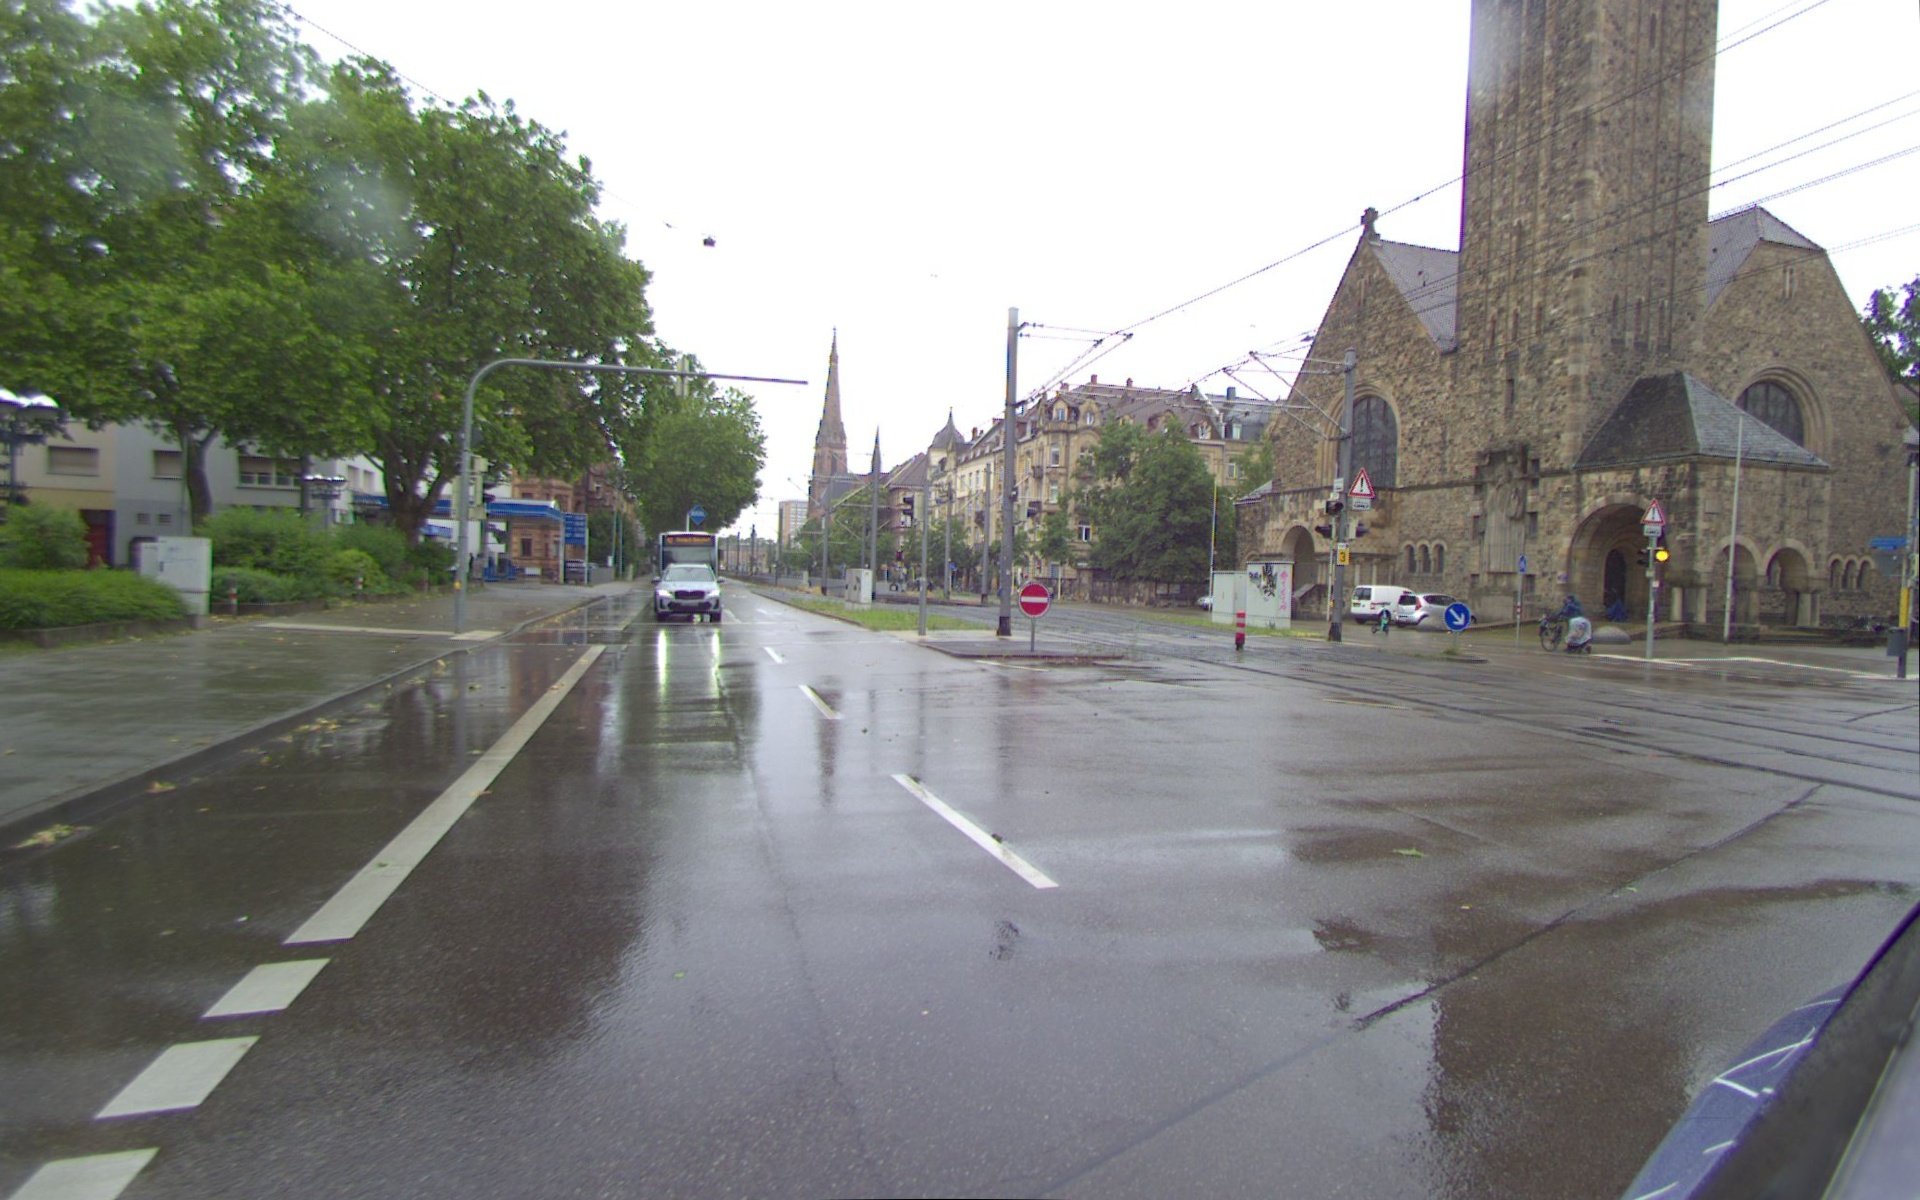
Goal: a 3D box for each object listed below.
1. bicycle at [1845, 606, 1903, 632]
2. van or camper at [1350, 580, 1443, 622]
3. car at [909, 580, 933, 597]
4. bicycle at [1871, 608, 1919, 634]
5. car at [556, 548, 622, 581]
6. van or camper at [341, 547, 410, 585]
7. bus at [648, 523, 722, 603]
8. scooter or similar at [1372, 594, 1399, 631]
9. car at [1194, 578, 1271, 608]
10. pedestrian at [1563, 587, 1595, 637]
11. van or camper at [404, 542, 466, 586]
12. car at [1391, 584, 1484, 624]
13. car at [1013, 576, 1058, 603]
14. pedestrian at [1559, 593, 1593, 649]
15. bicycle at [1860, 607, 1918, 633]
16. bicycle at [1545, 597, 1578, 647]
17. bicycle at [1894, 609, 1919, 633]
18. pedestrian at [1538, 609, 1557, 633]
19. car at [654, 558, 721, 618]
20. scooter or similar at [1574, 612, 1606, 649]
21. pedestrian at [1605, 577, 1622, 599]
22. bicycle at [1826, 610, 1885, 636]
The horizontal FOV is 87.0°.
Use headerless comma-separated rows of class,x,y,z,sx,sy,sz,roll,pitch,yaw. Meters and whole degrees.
bicycle,43.084,0.880,47.723,0.569,1.073,1.933,2,2,-21
van or camper,20.478,0.017,47.489,3.847,1.749,1.653,-2,3,-16
car,-4.281,-1.276,110.566,1.744,1.798,4.010,1,1,-16
bicycle,44.618,0.995,48.044,0.569,1.073,1.933,2,2,-18
car,-24.476,-2.355,66.900,3.915,2.038,2.005,1,1,-17
van or camper,-27.117,-1.596,47.095,1.958,1.618,4.682,2,1,-20
bus,-13.166,-1.729,47.701,2.832,3.152,12.131,2,1,-17
scooter or similar,16.575,0.475,39.416,0.280,1.404,1.106,2,1,-17
car,16.145,-0.435,60.035,3.915,1.638,2.005,2,1,-16
pedestrian,22.059,0.418,36.088,0.664,1.724,0.635,2,1,-20
van or camper,-24.841,-1.710,48.050,1.958,1.938,4.682,2,1,-20
car,20.821,0.143,44.172,3.288,1.593,1.740,-2,2,-14
car,5.658,-0.807,76.269,1.938,1.816,4.010,1,2,-19
pedestrian,18.851,0.641,30.971,0.676,1.684,0.604,2,1,-37
bicycle,43.873,0.937,47.807,0.569,1.073,1.933,2,2,-18
bicycle,18.719,0.679,31.470,0.531,1.484,1.912,3,1,40
bicycle,46.295,1.055,48.622,0.593,1.079,1.988,2,2,-18
pedestrian,22.274,0.789,38.359,0.388,0.895,0.457,2,1,-20
car,-8.290,-0.396,30.583,1.754,1.619,4.566,2,1,-17
scooter or similar,18.979,0.915,30.483,0.907,1.061,0.515,2,1,-38
pedestrian,28.102,-0.510,43.527,0.447,0.895,0.397,2,1,-17
bicycle,42.032,1.073,47.529,0.564,1.062,2.014,2,2,-23
